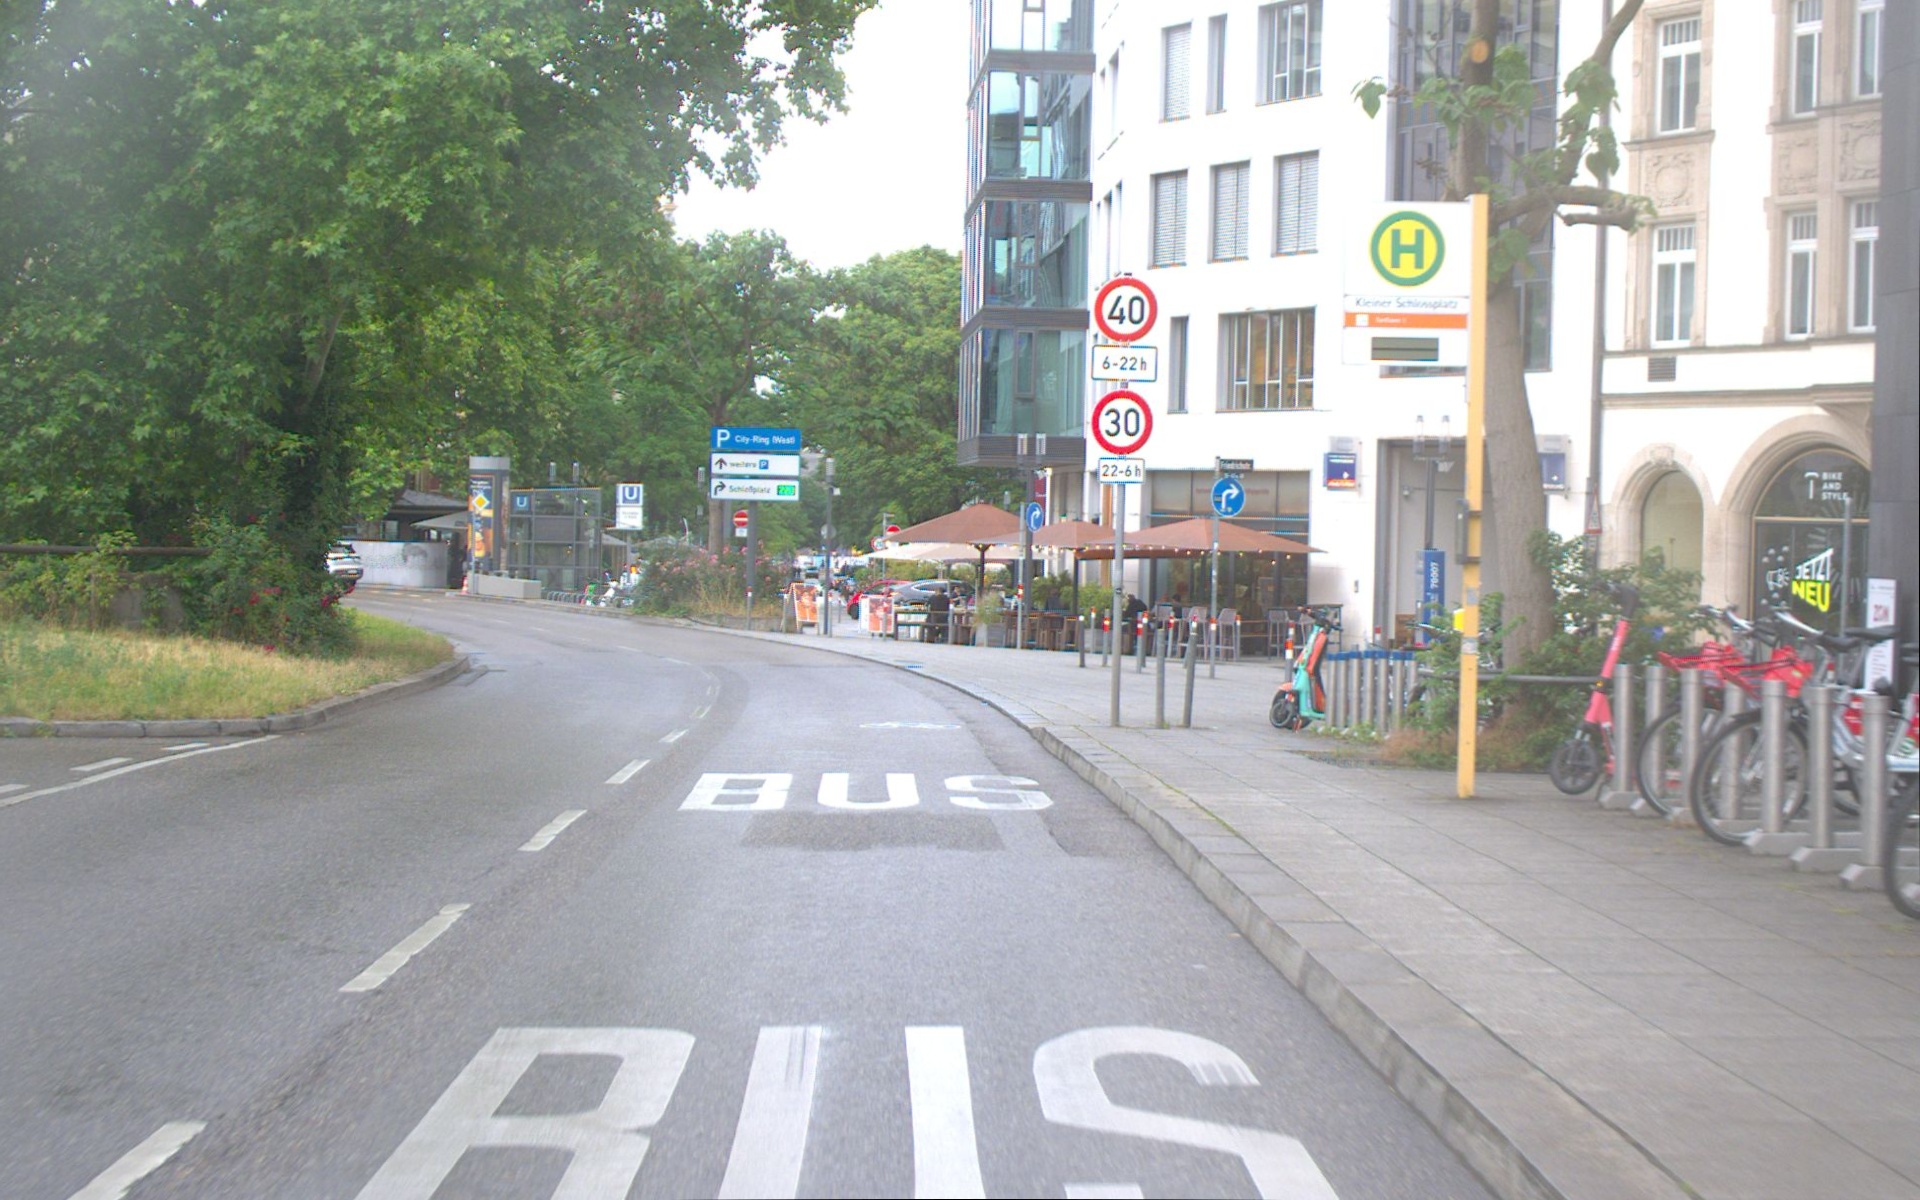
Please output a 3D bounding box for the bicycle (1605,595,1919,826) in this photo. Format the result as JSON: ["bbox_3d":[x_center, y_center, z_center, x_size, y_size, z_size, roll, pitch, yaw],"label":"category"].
[{"bbox_3d":[4.160,0.559,17.583,1.534,1.136,0.689,1,-1,-8],"label":"bicycle"}]

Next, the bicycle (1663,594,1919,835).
[{"bbox_3d":[4.301,0.556,16.811,1.534,1.136,0.689,1,-1,-8],"label":"bicycle"}]

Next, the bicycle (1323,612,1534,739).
[{"bbox_3d":[4.372,0.702,32.128,1.794,1.104,0.670,3,-1,-7],"label":"bicycle"}]

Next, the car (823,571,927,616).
[{"bbox_3d":[-3.040,-0.230,122.440,3.527,1.411,1.610,3,0,45],"label":"car"}]

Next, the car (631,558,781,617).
[{"bbox_3d":[-8.260,-0.412,112.098,4.734,1.685,2.005,2,1,-2],"label":"car"}]

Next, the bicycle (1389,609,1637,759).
[{"bbox_3d":[4.403,0.664,27.426,1.794,1.104,0.670,3,-1,-7],"label":"bicycle"}]

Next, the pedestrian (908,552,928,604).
[{"bbox_3d":[-1.571,-0.815,129.285,0.624,1.926,0.787,2,0,5],"label":"pedestrian"}]

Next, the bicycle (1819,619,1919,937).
[{"bbox_3d":[4.187,0.652,12.885,1.729,1.136,0.689,0,1,-8],"label":"bicycle"}]

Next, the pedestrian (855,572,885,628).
[{"bbox_3d":[-2.181,-0.011,83.489,0.606,1.322,0.567,4,0,-6],"label":"pedestrian"}]

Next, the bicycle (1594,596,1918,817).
[{"bbox_3d":[4.251,0.564,18.405,1.534,1.136,0.662,1,-1,-8],"label":"bicycle"}]

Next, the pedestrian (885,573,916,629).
[{"bbox_3d":[-1.447,0.023,83.557,0.606,1.322,0.567,4,0,-6],"label":"pedestrian"}]

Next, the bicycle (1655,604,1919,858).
[{"bbox_3d":[4.186,0.606,16.015,1.705,1.136,0.689,1,-1,-8],"label":"bicycle"}]

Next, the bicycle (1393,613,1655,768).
[{"bbox_3d":[4.182,0.666,25.520,1.794,1.064,0.556,3,-1,-6],"label":"bicycle"}]

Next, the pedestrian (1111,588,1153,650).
[{"bbox_3d":[3.839,0.418,76.795,0.626,1.322,0.636,4,0,-26],"label":"pedestrian"}]

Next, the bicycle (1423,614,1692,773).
[{"bbox_3d":[4.320,0.670,24.896,1.794,1.064,0.556,3,-1,-6],"label":"bicycle"}]

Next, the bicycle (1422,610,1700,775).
[{"bbox_3d":[4.200,0.643,24.065,1.794,1.064,0.556,3,-1,-6],"label":"bicycle"}]

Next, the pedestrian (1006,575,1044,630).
[{"bbox_3d":[1.625,0.067,86.320,0.817,1.322,0.636,4,0,-6],"label":"pedestrian"}]

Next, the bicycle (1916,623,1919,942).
[{"bbox_3d":[4.328,0.662,12.064,1.729,1.136,0.689,0,1,-8],"label":"bicycle"}]

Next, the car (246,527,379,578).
[{"bbox_3d":[-22.577,-1.660,119.818,4.339,1.661,1.949,2,0,32],"label":"car"}]

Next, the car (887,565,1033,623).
[{"bbox_3d":[-0.014,-0.204,114.557,4.734,1.685,2.005,2,1,-2],"label":"car"}]

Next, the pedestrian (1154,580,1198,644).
[{"bbox_3d":[4.696,0.258,74.713,0.626,1.322,0.636,4,0,-26],"label":"pedestrian"}]

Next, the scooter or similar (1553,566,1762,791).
[{"bbox_3d":[3.967,0.446,19.559,1.105,1.253,0.302,1,-1,-8],"label":"scooter or similar"}]

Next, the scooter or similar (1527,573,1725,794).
[{"bbox_3d":[3.857,0.481,19.918,1.060,1.253,0.302,1,-1,-8],"label":"scooter or similar"}]

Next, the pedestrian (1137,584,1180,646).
[{"bbox_3d":[4.359,0.327,75.514,0.626,1.322,0.636,4,0,-26],"label":"pedestrian"}]

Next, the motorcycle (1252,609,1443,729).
[{"bbox_3d":[3.932,0.698,34.927,1.791,1.136,0.596,3,-1,-7],"label":"motorcycle"}]

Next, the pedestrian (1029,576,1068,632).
[{"bbox_3d":[2.191,0.098,85.486,0.817,1.322,0.636,4,0,-6],"label":"pedestrian"}]

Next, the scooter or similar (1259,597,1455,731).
[{"bbox_3d":[3.934,0.631,34.137,1.791,1.239,0.596,3,-1,-7],"label":"scooter or similar"}]

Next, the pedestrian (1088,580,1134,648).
[{"bbox_3d":[3.084,0.284,70.338,0.773,1.322,0.636,4,0,-6],"label":"pedestrian"}]

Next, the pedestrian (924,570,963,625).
[{"bbox_3d":[-0.411,-0.062,85.565,0.817,1.322,0.636,4,0,-6],"label":"pedestrian"}]
